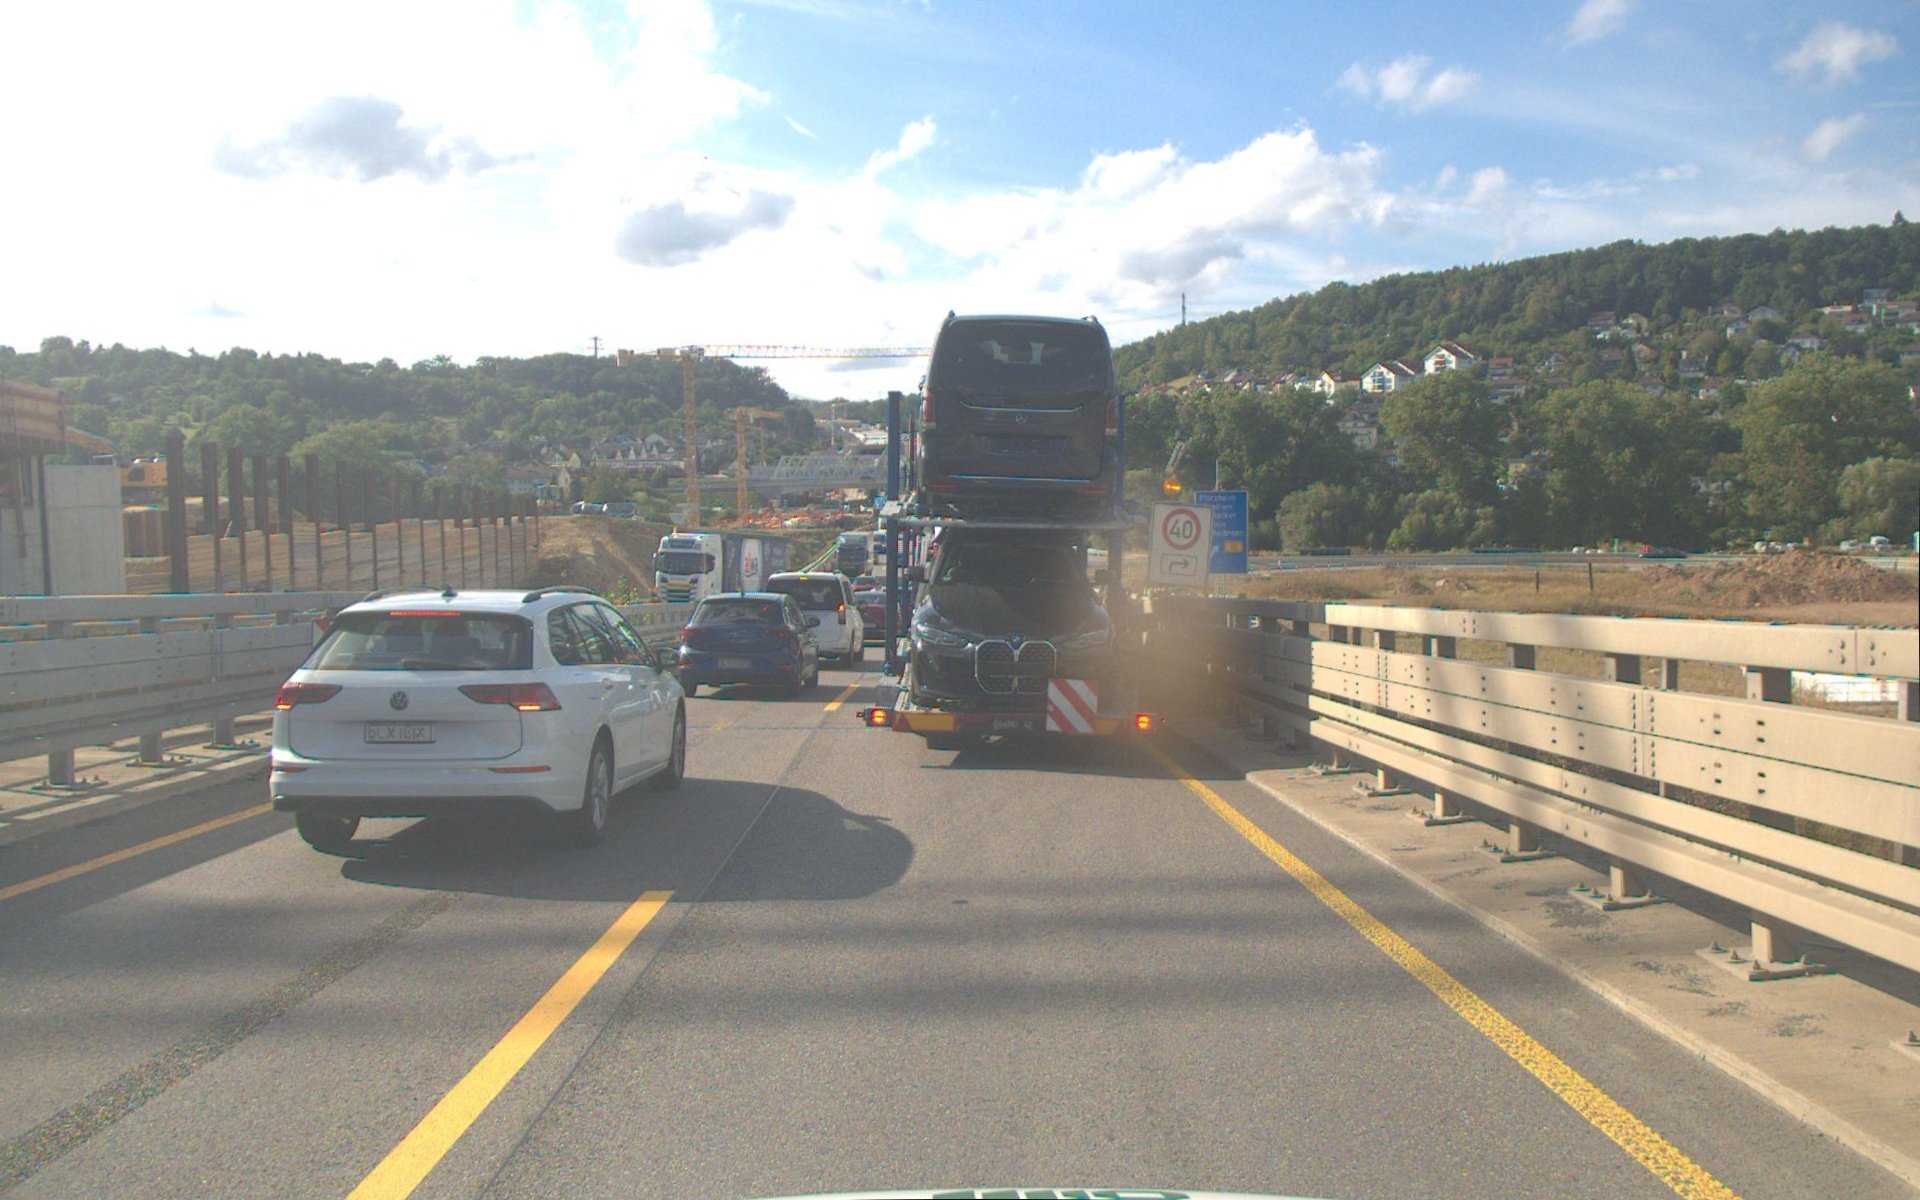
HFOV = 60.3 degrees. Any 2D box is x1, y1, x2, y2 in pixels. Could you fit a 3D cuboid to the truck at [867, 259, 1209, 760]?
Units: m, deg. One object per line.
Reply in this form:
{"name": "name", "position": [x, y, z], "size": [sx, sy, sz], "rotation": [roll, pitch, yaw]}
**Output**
{"name": "truck", "position": [0.533, -0.687, 22.984], "size": [2.697, 4.024, 18.885], "rotation": [2, 0, -1]}

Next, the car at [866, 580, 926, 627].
{"name": "car", "position": [-2.263, 0.126, 59.168], "size": [1.953, 1.579, 4.000], "rotation": [1, 0, 0]}

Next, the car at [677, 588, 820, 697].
{"name": "car", "position": [-3.006, 0.560, 24.194], "size": [1.687, 1.447, 3.998], "rotation": [0, 0, -2]}

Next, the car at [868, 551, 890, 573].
{"name": "car", "position": [-9.683, -4.519, 197.440], "size": [2.212, 2.444, 5.867], "rotation": [1, 0, 0]}

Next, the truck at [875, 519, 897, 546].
{"name": "truck", "position": [-10.323, -9.445, 230.624], "size": [2.645, 3.369, 7.537], "rotation": [1, 0, 0]}

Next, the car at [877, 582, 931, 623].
{"name": "car", "position": [-2.244, 0.125, 67.169], "size": [1.952, 1.579, 4.000], "rotation": [1, 0, 1]}

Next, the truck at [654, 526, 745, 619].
{"name": "truck", "position": [-12.192, -1.220, 77.943], "size": [2.654, 4.210, 5.975], "rotation": [1, 0, 7]}

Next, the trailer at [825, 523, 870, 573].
{"name": "trailer", "position": [-10.030, -4.466, 145.986], "size": [2.768, 3.908, 13.776], "rotation": [1, 0, -9]}

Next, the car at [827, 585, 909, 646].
{"name": "car", "position": [-2.517, 0.421, 46.122], "size": [1.952, 1.584, 4.401], "rotation": [1, 0, 1]}

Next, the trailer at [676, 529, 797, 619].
{"name": "trailer", "position": [-11.254, -1.165, 85.171], "size": [2.630, 4.228, 13.822], "rotation": [1, 0, 7]}

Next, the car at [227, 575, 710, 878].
{"name": "car", "position": [-2.849, 0.649, 10.689], "size": [1.733, 1.517, 4.516], "rotation": [-1, 0, 0]}

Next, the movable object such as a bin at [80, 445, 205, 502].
{"name": "movable object such as a bin", "position": [-52.910, -8.148, 107.151], "size": [5.623, 3.328, 4.514], "rotation": [1, 0, 12]}

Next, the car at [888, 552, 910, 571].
{"name": "car", "position": [-6.298, -3.968, 169.990], "size": [1.955, 1.757, 4.118], "rotation": [1, 0, -5]}

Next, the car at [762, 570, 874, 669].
{"name": "car", "position": [-2.775, 0.380, 33.040], "size": [1.785, 1.823, 4.000], "rotation": [1, 0, 1]}

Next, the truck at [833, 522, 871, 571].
{"name": "truck", "position": [-9.152, -4.479, 139.689], "size": [2.725, 3.855, 6.006], "rotation": [1, 0, -9]}

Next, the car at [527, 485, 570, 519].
{"name": "car", "position": [-32.435, -7.717, 130.368], "size": [1.953, 2.177, 5.320], "rotation": [-4, 0, -1]}
